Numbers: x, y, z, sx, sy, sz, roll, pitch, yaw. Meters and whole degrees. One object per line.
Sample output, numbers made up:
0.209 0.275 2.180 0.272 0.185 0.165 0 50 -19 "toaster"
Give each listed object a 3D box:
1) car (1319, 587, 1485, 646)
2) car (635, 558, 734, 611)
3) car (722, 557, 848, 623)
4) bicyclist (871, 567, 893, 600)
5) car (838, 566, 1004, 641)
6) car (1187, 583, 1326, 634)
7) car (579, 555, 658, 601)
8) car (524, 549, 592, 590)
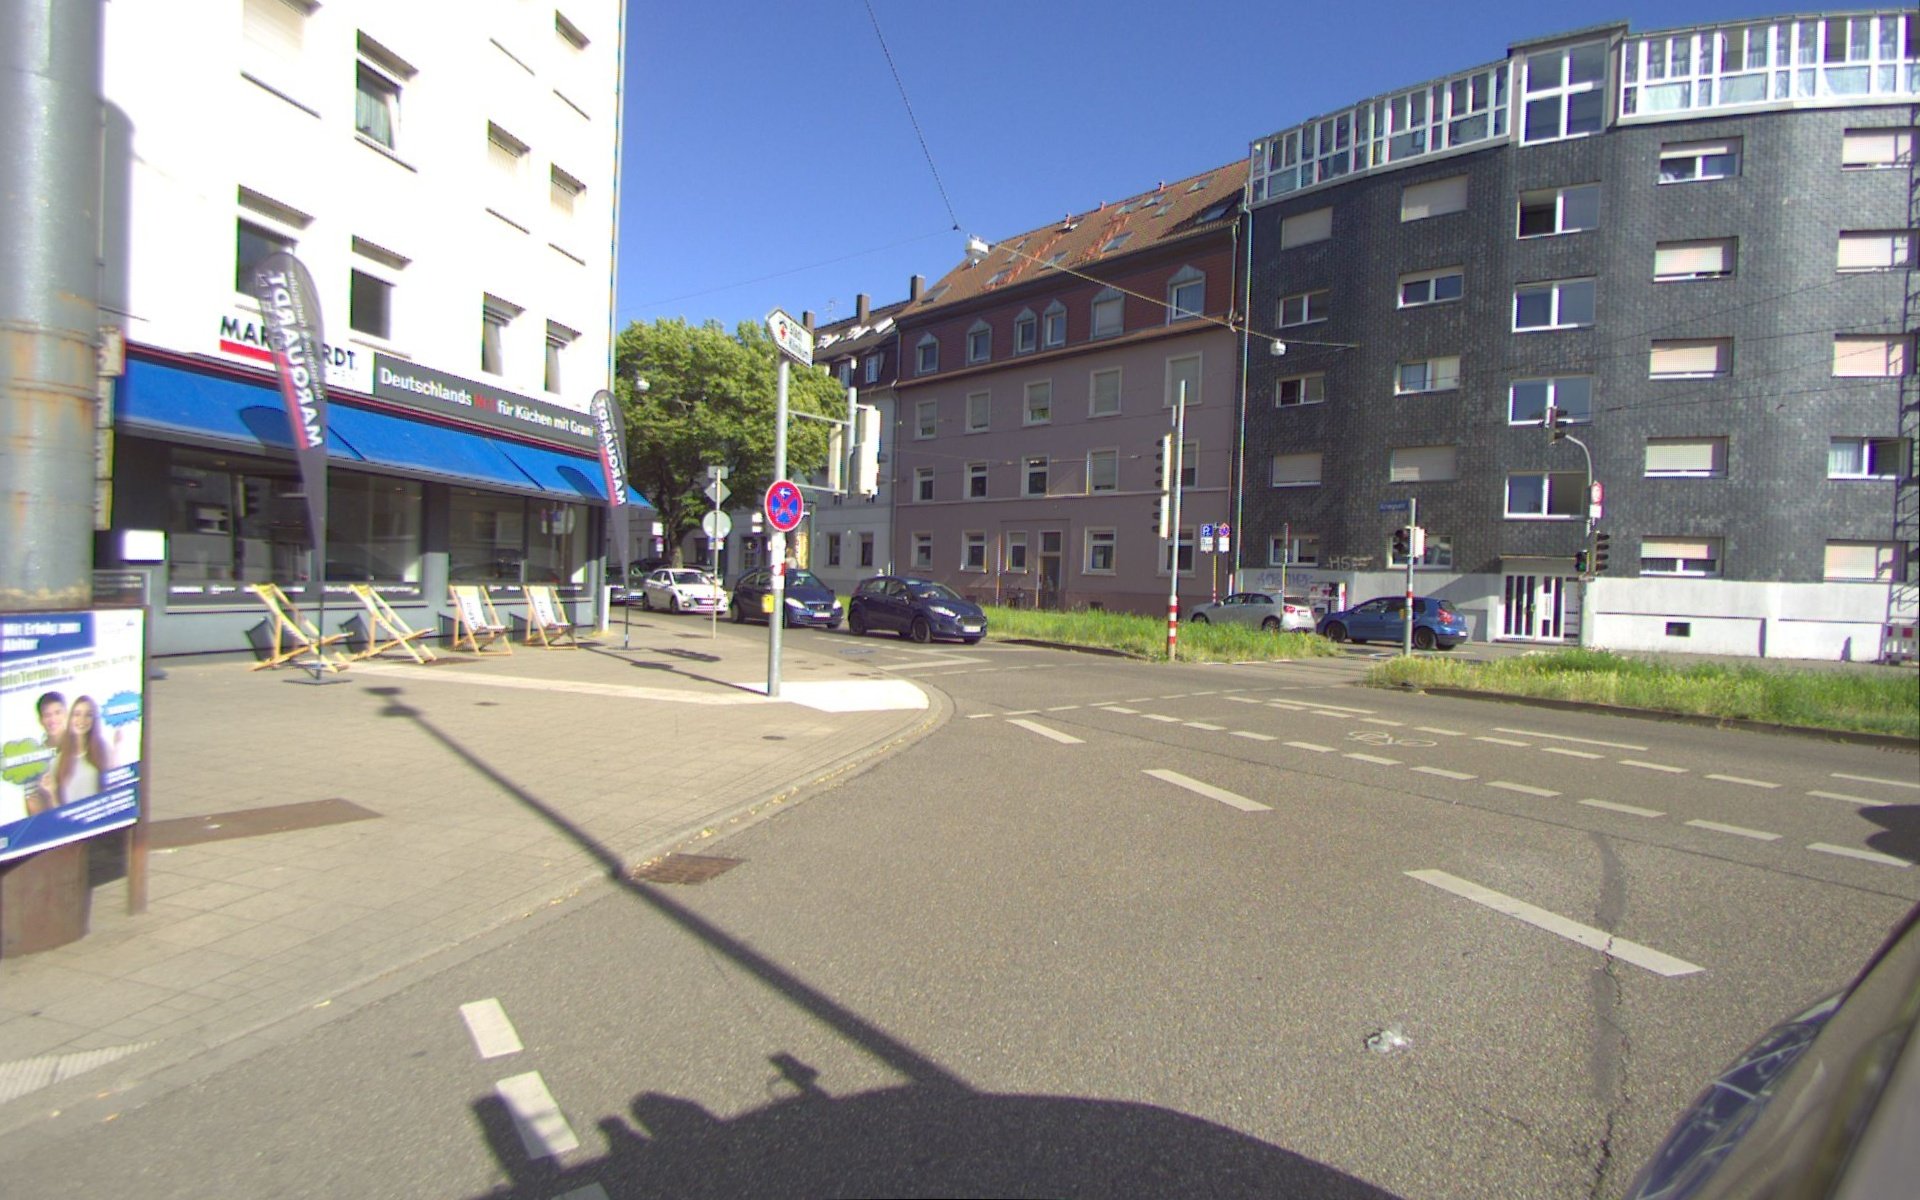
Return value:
12.557 0.435 28.933 1.659 1.433 3.995 1 2 -41 "car"
-9.101 -0.541 33.262 1.629 1.600 3.997 1 2 -39 "car"
-4.813 -0.307 27.465 1.629 1.600 3.997 1 2 -39 "car"
-3.457 -0.726 44.850 0.501 1.426 0.804 1 1 -43 "bicyclist"
-0.984 0.038 23.215 1.703 1.471 3.997 3 1 -39 "car"
9.475 0.241 32.549 1.659 1.433 3.995 1 2 -41 "car"
-12.936 -0.842 38.228 1.629 1.600 3.768 1 2 -39 "car"
-17.055 -1.315 42.861 1.629 1.600 3.768 1 2 -39 "car"
